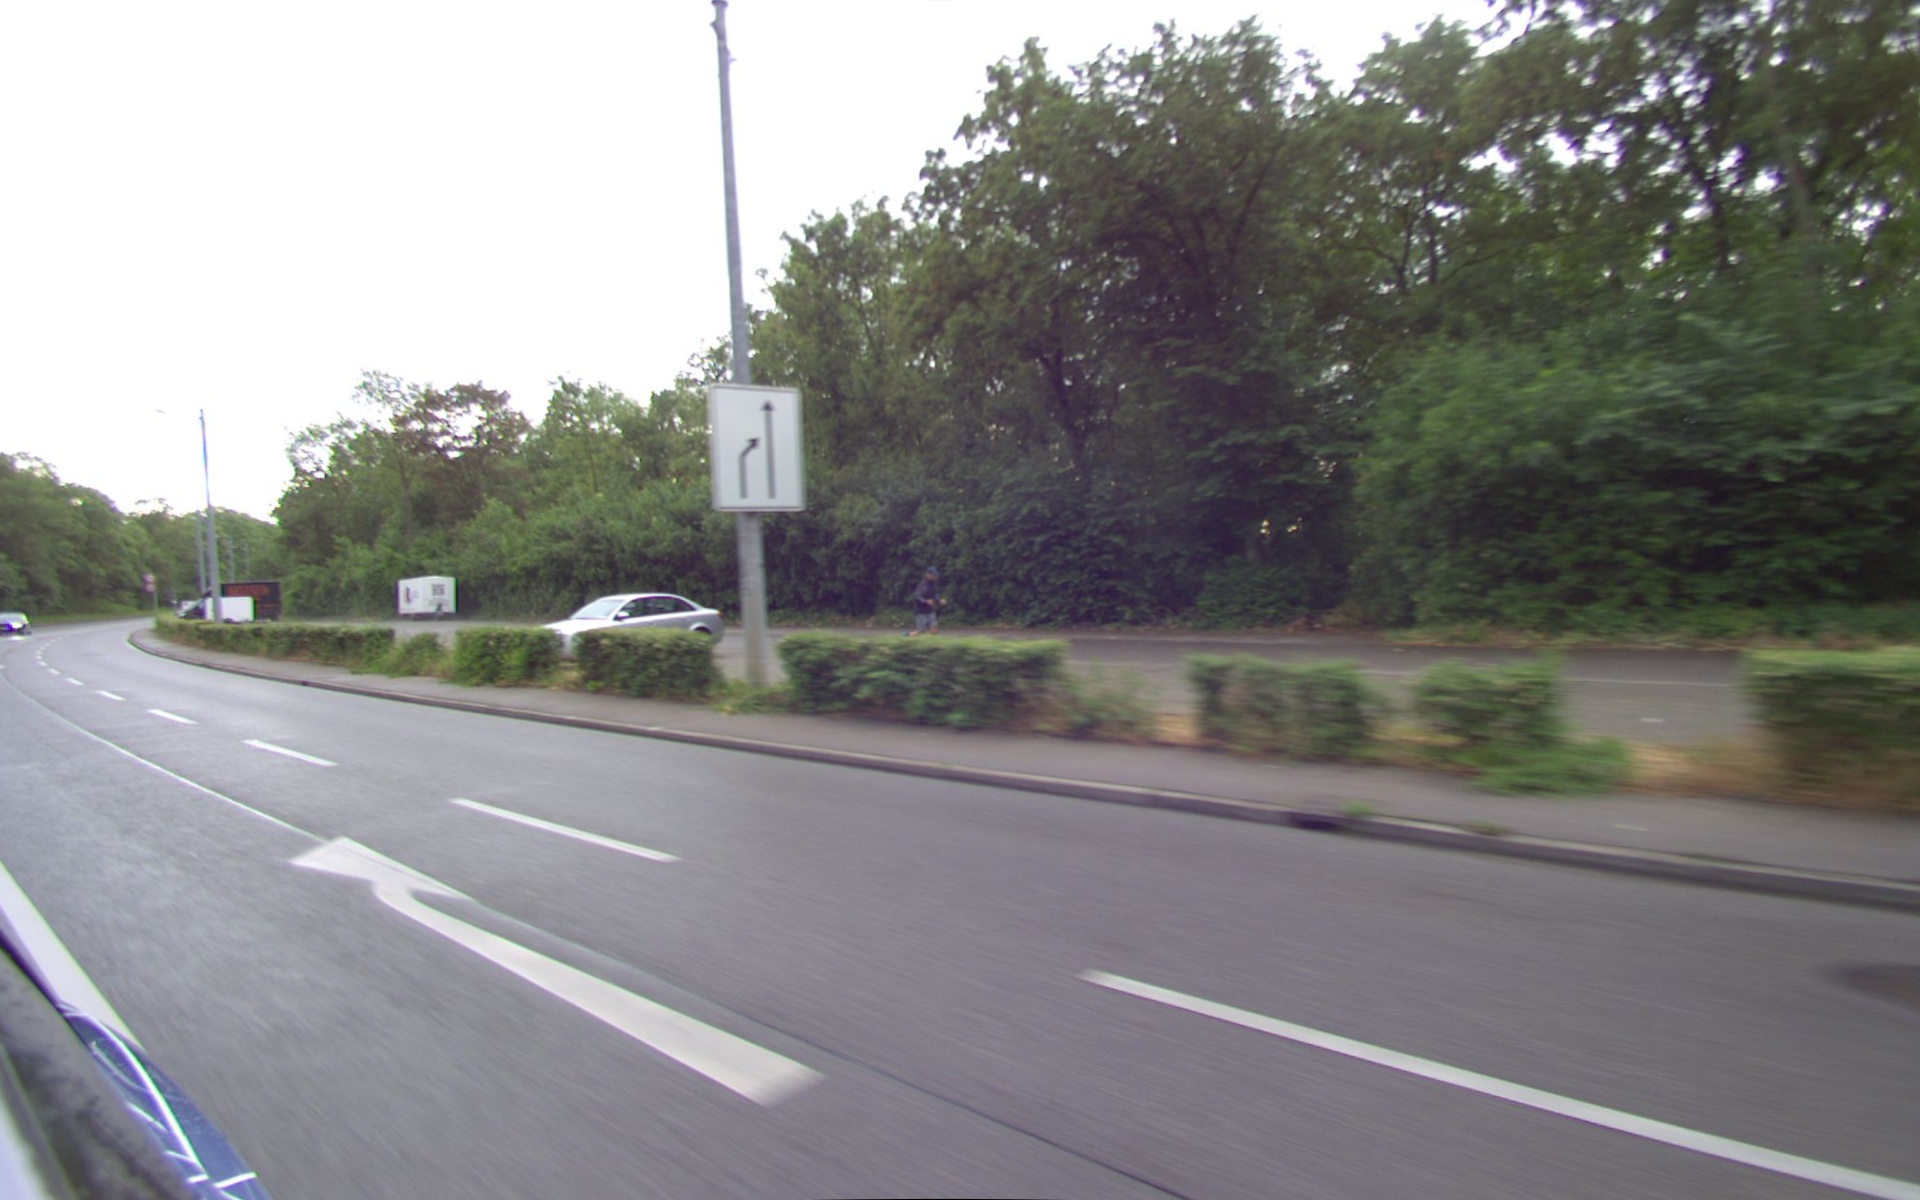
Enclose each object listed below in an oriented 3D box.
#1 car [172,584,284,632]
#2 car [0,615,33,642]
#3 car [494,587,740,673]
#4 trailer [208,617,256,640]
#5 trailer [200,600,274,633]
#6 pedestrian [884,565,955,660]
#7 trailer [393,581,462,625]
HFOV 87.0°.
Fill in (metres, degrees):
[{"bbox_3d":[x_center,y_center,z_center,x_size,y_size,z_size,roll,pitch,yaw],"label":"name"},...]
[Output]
[{"bbox_3d":[-51.846,0.491,71.771,6.195,3.136,2.756,-2,2,-41],"label":"car"},{"bbox_3d":[-62.209,1.853,66.139,1.967,1.696,4.009,-1,0,-36],"label":"car"},{"bbox_3d":[-7.015,0.550,21.152,1.997,1.517,4.534,-1,1,37],"label":"car"},{"bbox_3d":[-36.401,1.408,50.609,1.780,1.042,1.335,-2,1,-45],"label":"trailer"},{"bbox_3d":[-48.298,1.058,67.620,3.936,2.068,1.877,-1,0,-38],"label":"trailer"},{"bbox_3d":[-0.806,0.242,19.989,0.808,1.811,1.136,-2,0,-45],"label":"pedestrian"},{"bbox_3d":[-36.853,0.185,69.860,2.445,2.895,7.988,-1,0,-41],"label":"trailer"}]
